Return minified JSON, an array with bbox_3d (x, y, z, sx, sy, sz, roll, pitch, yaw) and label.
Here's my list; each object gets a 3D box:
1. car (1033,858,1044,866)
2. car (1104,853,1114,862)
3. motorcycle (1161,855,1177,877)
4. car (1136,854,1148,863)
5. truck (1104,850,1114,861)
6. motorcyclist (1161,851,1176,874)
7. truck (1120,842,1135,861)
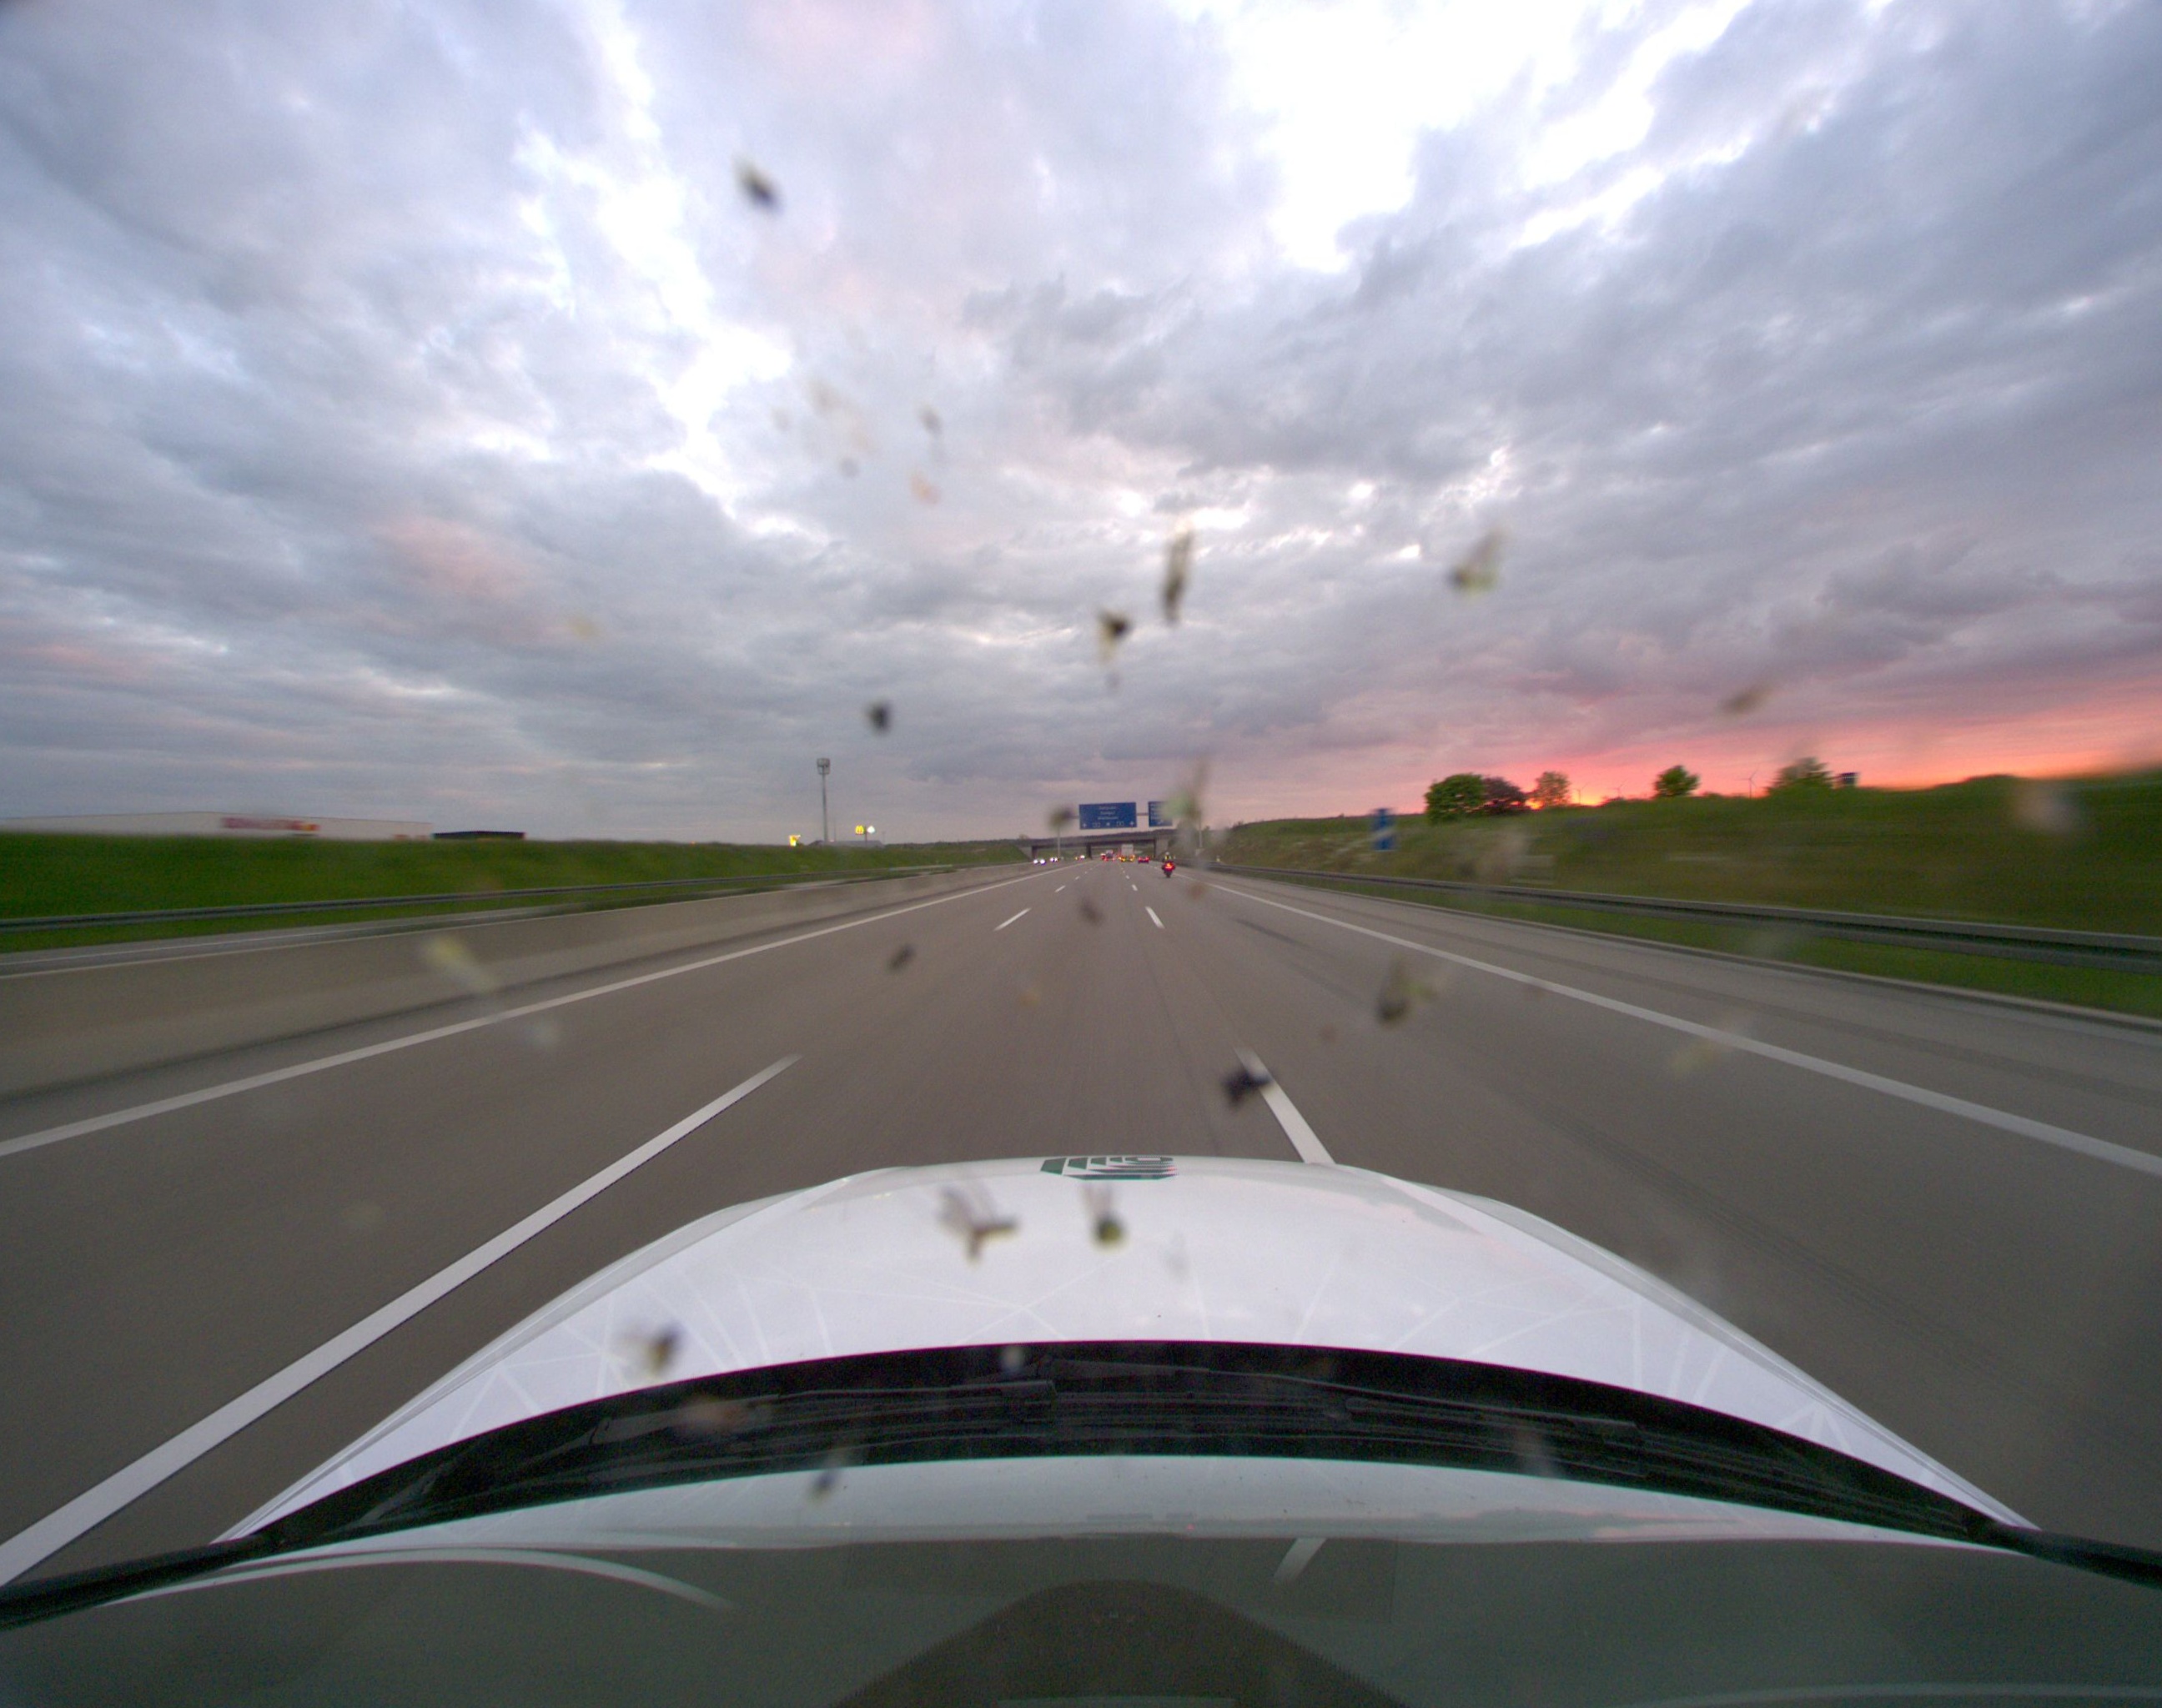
[{"bbox_3d":[-9.228,1.789,176.903,1.996,1.587,4.573,-2,0,0],"label":"car"},{"bbox_3d":[7.952,1.021,231.539,2.507,2.391,6.498,-2,0,1],"label":"car"},{"bbox_3d":[5.804,0.776,53.912,0.898,1.346,2.350,-1,1,3],"label":"motorcycle"},{"bbox_3d":[10.859,0.770,145.218,1.911,1.579,4.001,-2,0,1],"label":"car"},{"bbox_3d":[8.592,0.425,247.598,2.941,3.217,8.409,0,0,2],"label":"truck"},{"bbox_3d":[5.760,0.545,53.635,0.862,1.487,1.169,0,0,3],"label":"motorcyclist"},{"bbox_3d":[10.630,-0.615,186.365,3.221,4.227,9.605,0,0,3],"label":"truck"}]
